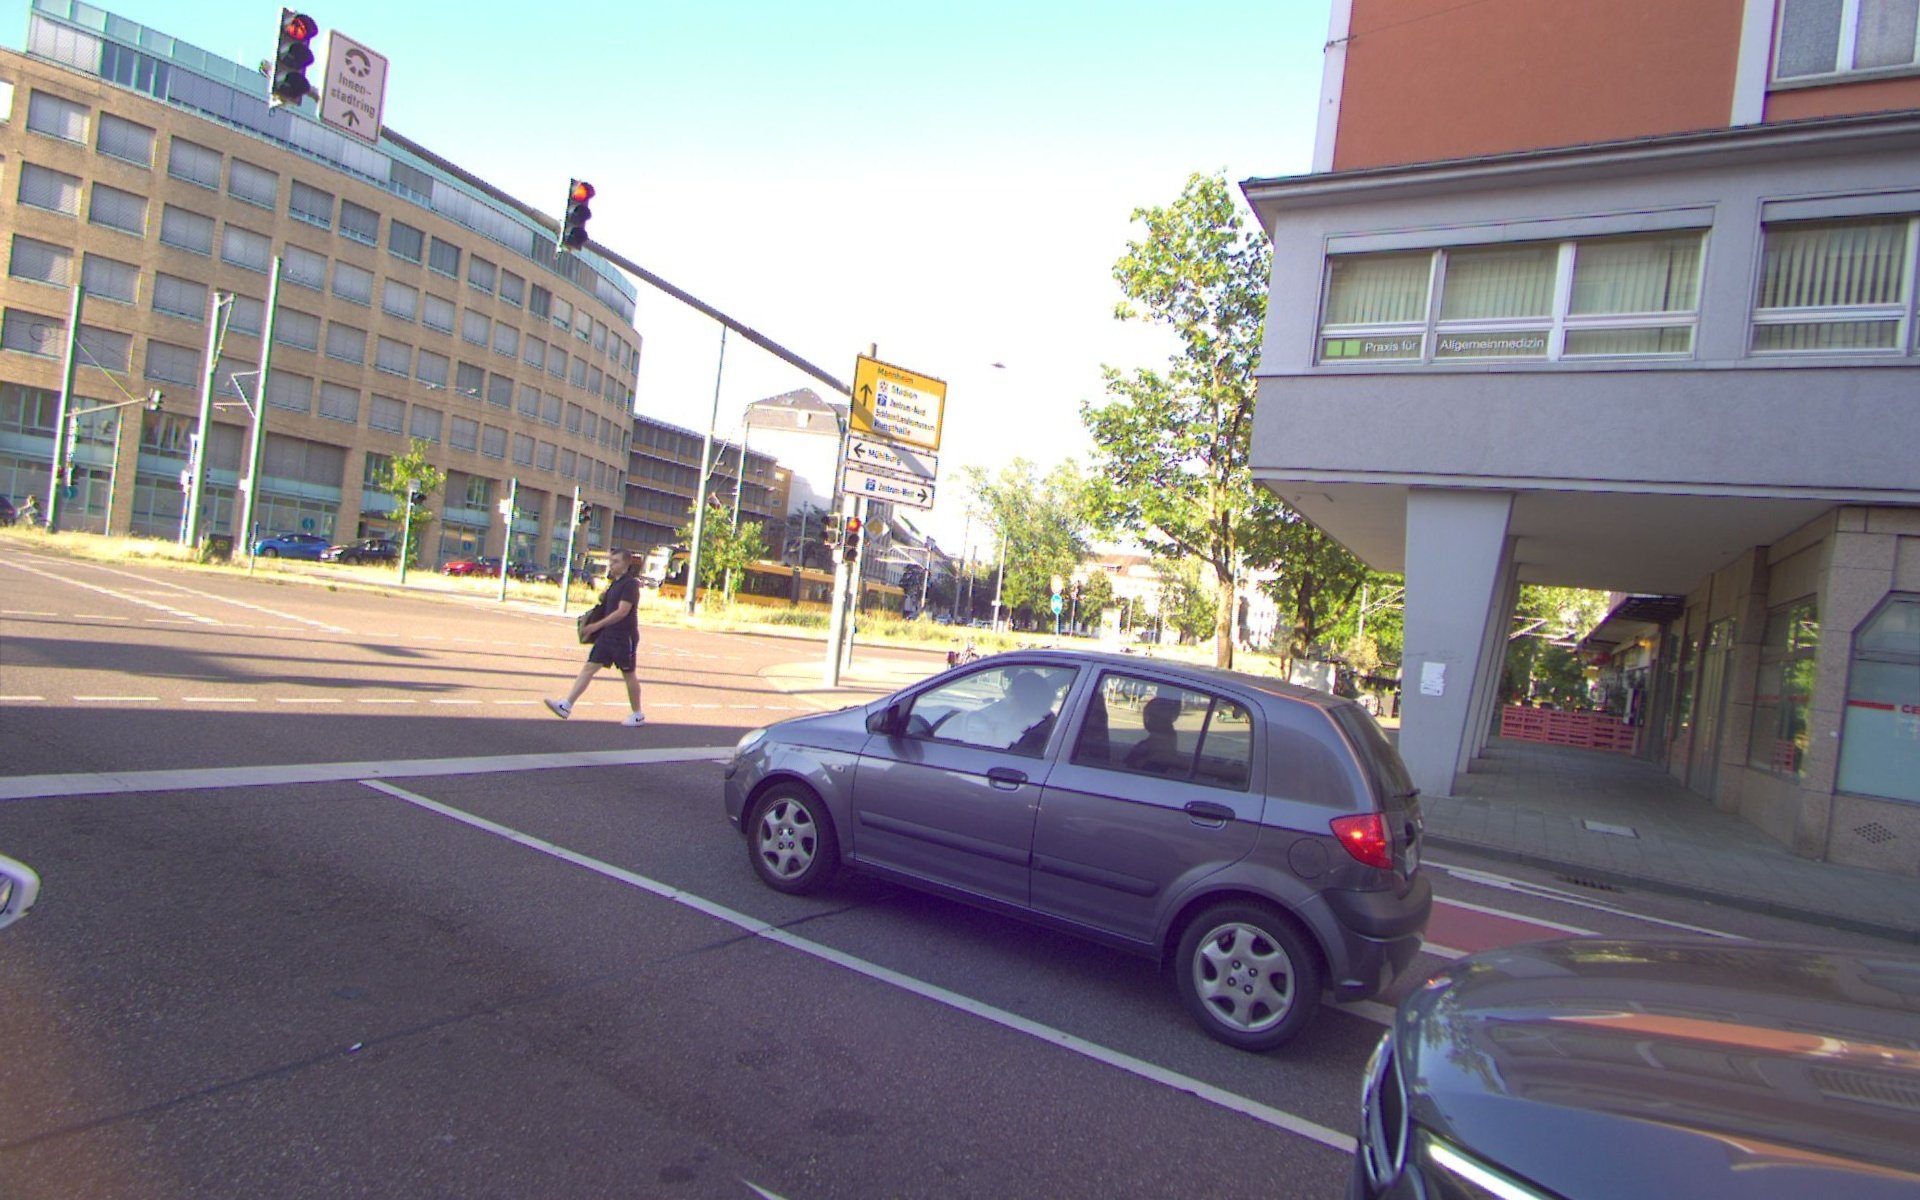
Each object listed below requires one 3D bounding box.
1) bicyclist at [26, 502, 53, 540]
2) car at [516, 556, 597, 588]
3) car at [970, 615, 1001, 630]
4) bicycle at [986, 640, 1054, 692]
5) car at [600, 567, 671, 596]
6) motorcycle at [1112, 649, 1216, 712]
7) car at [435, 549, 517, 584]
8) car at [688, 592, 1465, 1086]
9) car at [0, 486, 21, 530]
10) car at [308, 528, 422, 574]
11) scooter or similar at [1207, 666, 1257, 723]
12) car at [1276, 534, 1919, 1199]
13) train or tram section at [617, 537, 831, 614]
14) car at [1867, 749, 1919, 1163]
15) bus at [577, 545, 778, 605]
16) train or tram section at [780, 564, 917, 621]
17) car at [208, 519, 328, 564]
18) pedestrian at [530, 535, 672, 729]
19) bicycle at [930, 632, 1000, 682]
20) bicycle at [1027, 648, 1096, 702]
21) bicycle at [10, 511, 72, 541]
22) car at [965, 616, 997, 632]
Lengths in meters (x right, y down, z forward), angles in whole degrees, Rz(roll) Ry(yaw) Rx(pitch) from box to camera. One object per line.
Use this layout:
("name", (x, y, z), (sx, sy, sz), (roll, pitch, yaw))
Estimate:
("bicyclist", (-39.369, -3.382, 43.029), (0.525, 1.487, 0.667), (7, 0, 35))
("car", (-23.805, -1.643, 59.447), (1.966, 1.362, 3.995), (7, -1, 29))
("car", (3.413, 3.026, 135.604), (1.971, 1.609, 3.983), (7, -1, 40))
("bicycle", (1.494, 1.615, 24.682), (0.730, 1.130, 2.089), (7, 0, 29))
("car", (-20.885, -1.182, 64.819), (1.966, 1.362, 3.995), (7, -1, 29))
("motorcycle", (5.256, 2.064, 25.974), (2.361, 1.256, 0.855), (7, 0, 28))
("car", (-26.245, -1.815, 54.625), (1.693, 1.358, 3.614), (7, -1, 31))
("car", (0.525, 0.948, 5.286), (3.586, 1.463, 1.588), (7, -2, 31))
("car", (-38.461, -3.784, 37.446), (1.965, 1.617, 4.657), (7, -1, 28))
("car", (-29.008, -2.361, 49.168), (1.967, 1.634, 4.234), (7, -1, 32))
("scooter or similar", (6.375, 2.214, 23.586), (1.130, 1.261, 0.424), (6, 1, -39))
("car", (2.691, 1.043, 0.857), (4.402, 1.652, 1.787), (7, 0, 30))
("train or tram section", (-14.755, -1.311, 66.050), (3.634, 3.215, 17.149), (7, -1, 25))
("car", (5.092, 1.513, 2.800), (3.419, 1.524, 1.492), (7, 0, 30))
("bus", (-19.804, -1.583, 73.269), (2.380, 2.466, 18.214), (7, -1, 26))
("train or tram section", (-8.580, -0.368, 82.807), (3.630, 3.215, 19.970), (7, -1, 16))
("car", (-33.186, -2.776, 48.366), (1.965, 1.520, 4.238), (7, -1, 27))
("pedestrian", (-3.566, 0.329, 10.030), (0.659, 1.790, 0.945), (7, 0, 35))
("bicycle", (0.147, 1.452, 25.383), (0.730, 1.130, 2.089), (7, 0, 29))
("bicycle", (2.437, 1.779, 23.930), (0.730, 1.130, 2.089), (7, 0, 29))
("bicycle", (-39.345, -3.179, 43.080), (0.525, 0.996, 1.822), (7, -1, 34))
("car", (2.715, 3.101, 130.026), (1.971, 1.609, 3.984), (7, -1, 40))
